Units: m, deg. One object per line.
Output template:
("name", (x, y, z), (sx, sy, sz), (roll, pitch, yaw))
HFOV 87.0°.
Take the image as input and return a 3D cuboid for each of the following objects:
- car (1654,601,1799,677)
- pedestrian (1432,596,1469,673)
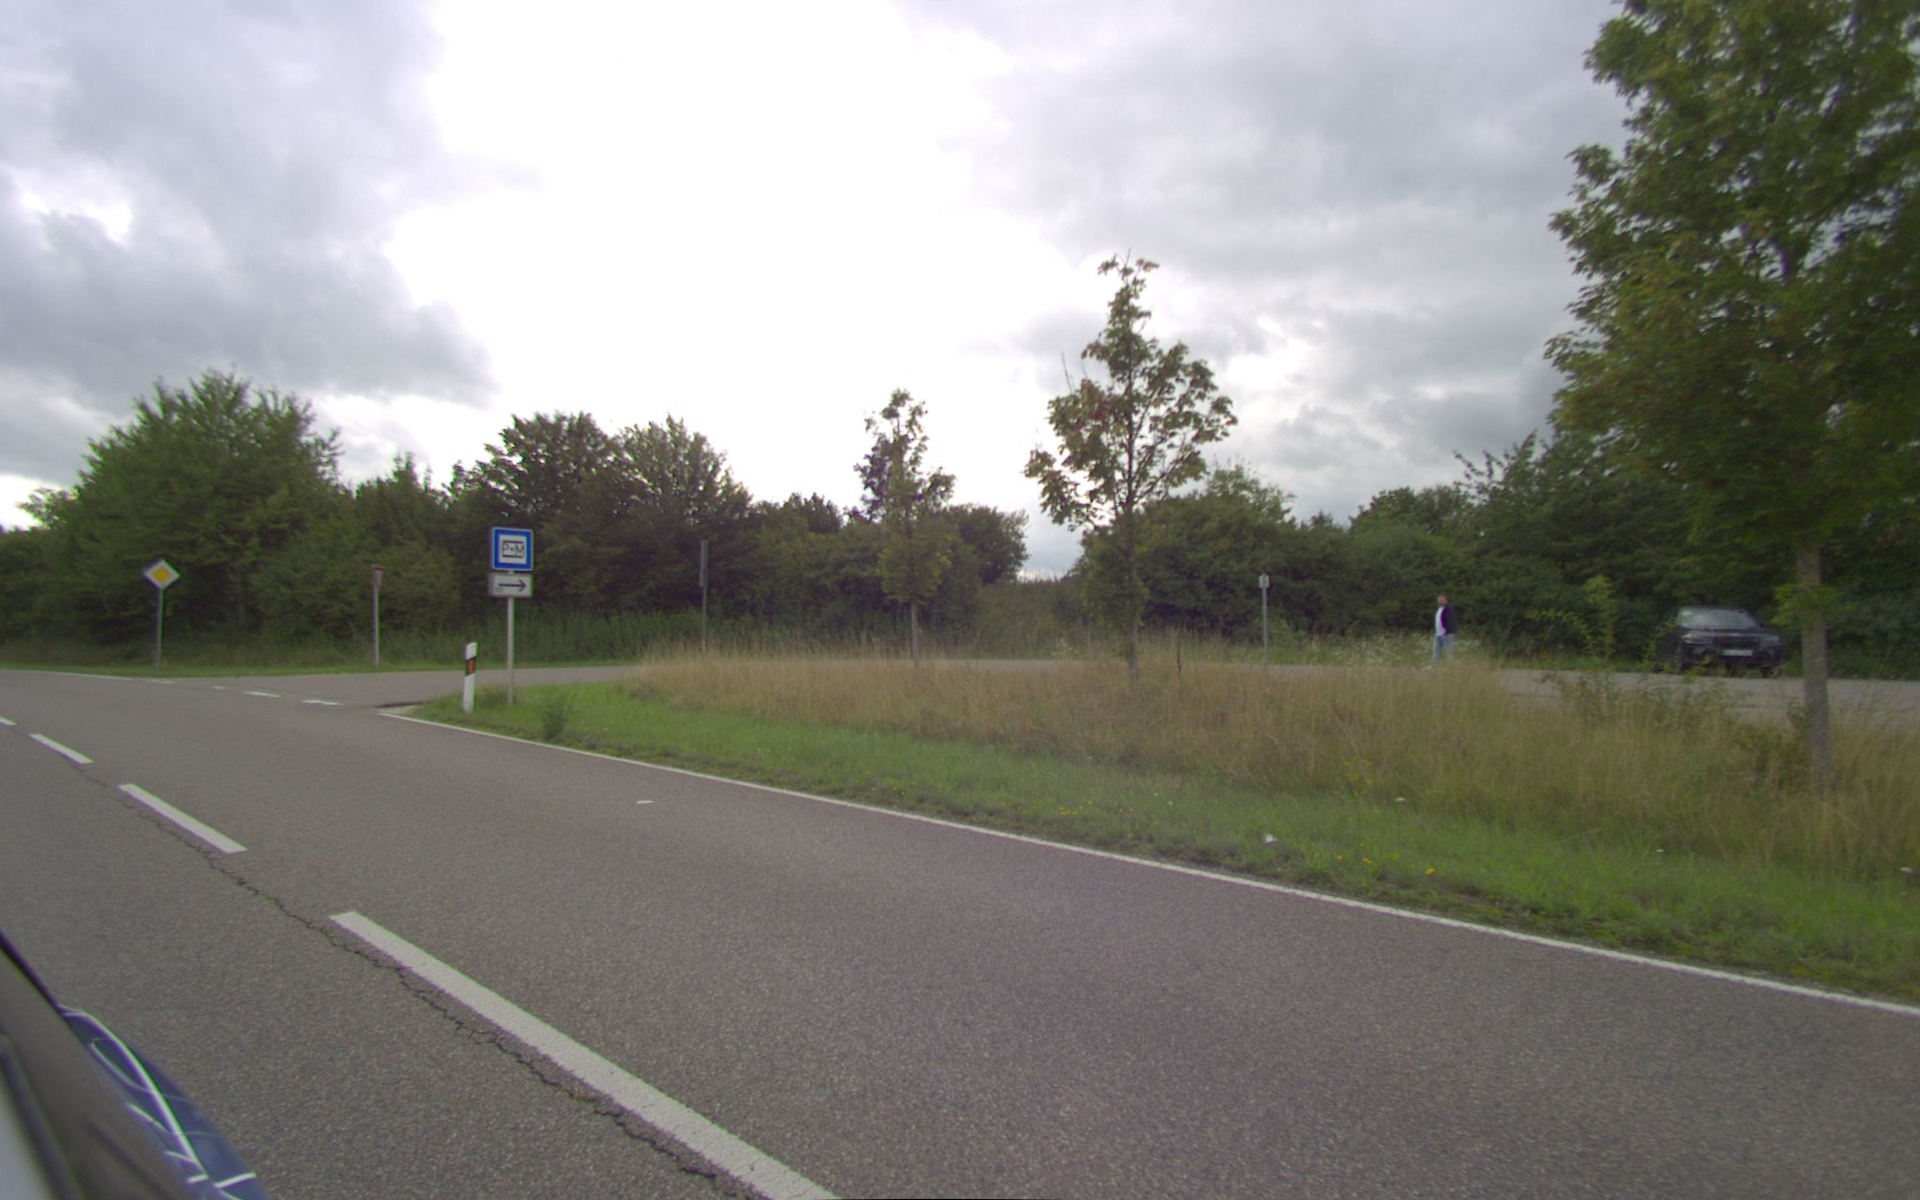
("car", (17.611, 0.848, 23.476), (1.748, 1.578, 4.219), (-1, -1, 25))
("pedestrian", (10.874, 0.762, 22.424), (0.658, 1.679, 0.511), (-1, -1, 31))
